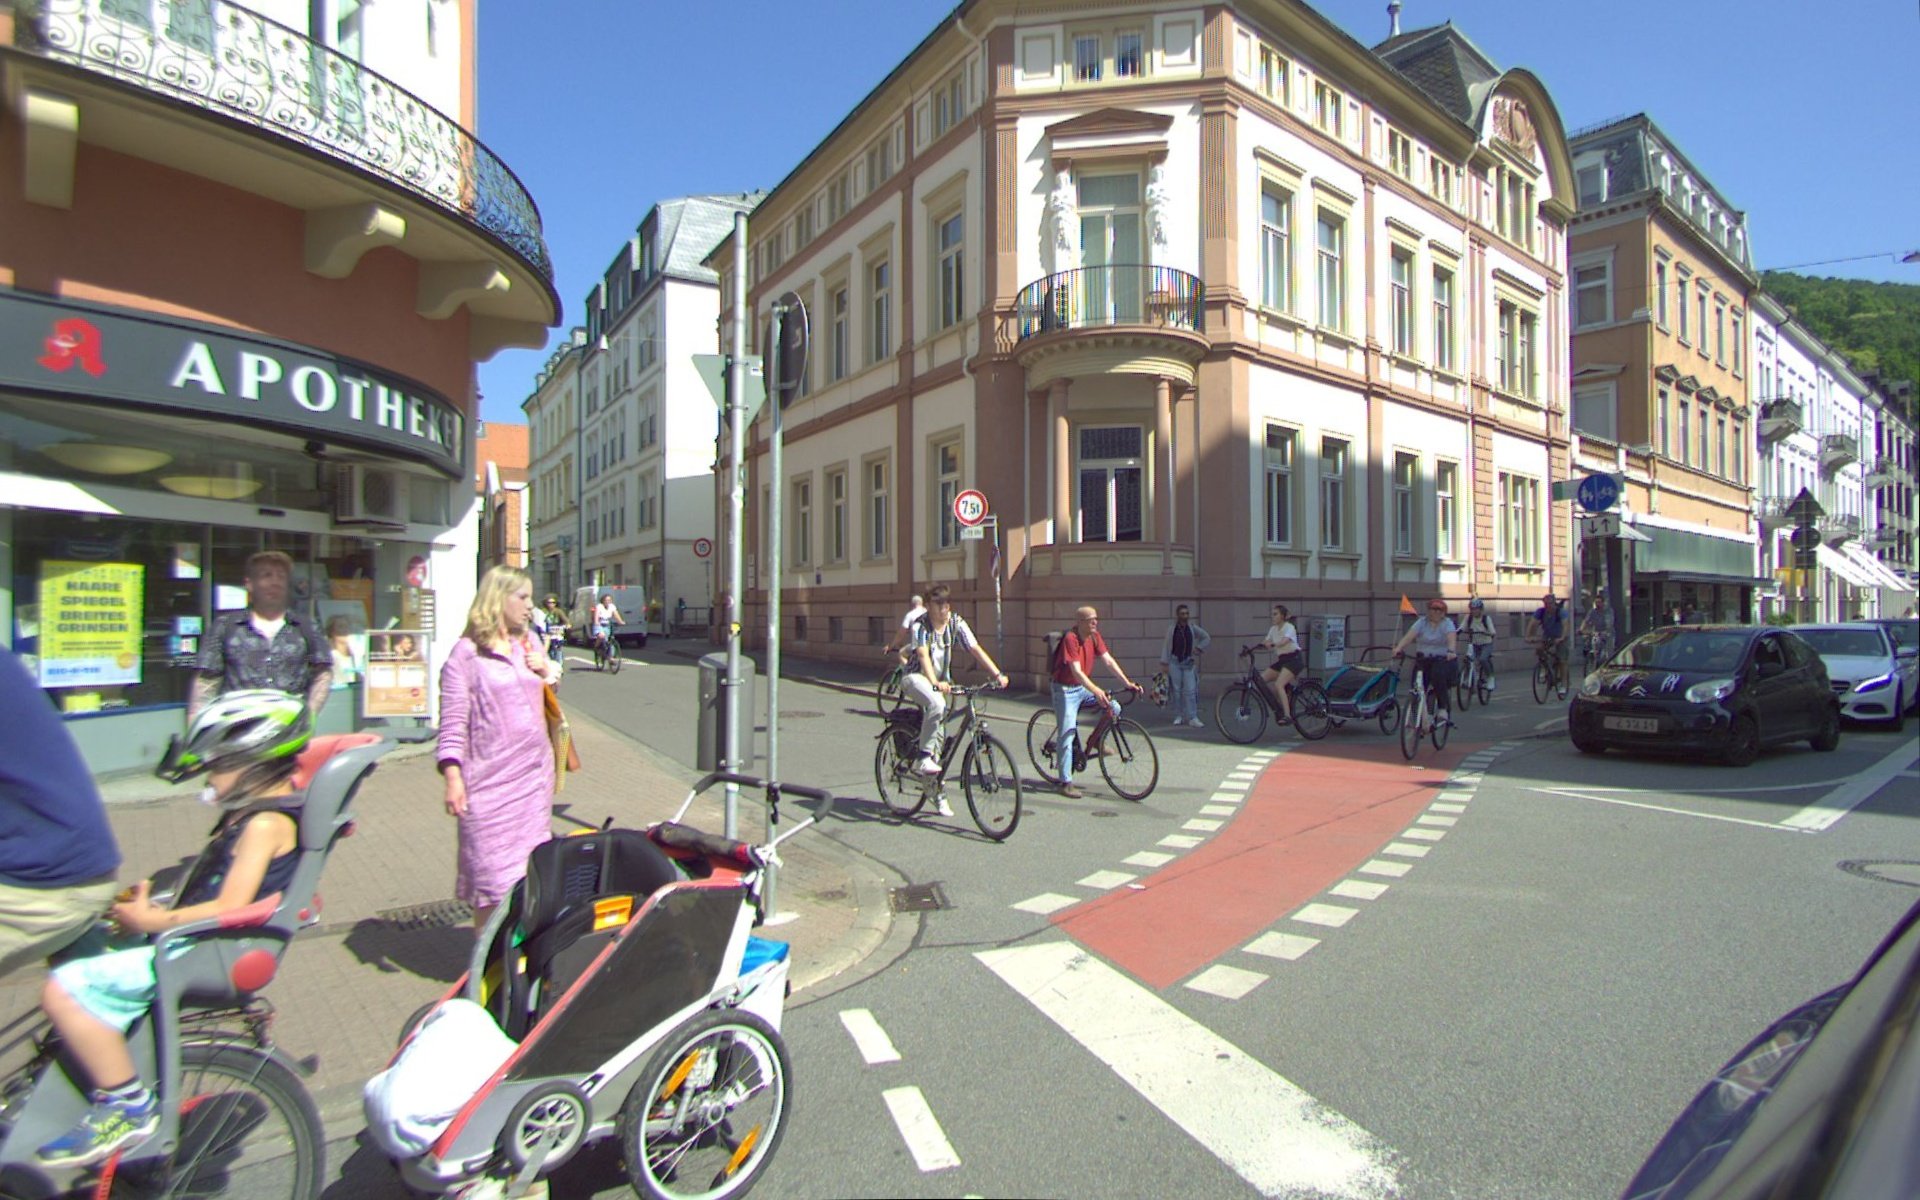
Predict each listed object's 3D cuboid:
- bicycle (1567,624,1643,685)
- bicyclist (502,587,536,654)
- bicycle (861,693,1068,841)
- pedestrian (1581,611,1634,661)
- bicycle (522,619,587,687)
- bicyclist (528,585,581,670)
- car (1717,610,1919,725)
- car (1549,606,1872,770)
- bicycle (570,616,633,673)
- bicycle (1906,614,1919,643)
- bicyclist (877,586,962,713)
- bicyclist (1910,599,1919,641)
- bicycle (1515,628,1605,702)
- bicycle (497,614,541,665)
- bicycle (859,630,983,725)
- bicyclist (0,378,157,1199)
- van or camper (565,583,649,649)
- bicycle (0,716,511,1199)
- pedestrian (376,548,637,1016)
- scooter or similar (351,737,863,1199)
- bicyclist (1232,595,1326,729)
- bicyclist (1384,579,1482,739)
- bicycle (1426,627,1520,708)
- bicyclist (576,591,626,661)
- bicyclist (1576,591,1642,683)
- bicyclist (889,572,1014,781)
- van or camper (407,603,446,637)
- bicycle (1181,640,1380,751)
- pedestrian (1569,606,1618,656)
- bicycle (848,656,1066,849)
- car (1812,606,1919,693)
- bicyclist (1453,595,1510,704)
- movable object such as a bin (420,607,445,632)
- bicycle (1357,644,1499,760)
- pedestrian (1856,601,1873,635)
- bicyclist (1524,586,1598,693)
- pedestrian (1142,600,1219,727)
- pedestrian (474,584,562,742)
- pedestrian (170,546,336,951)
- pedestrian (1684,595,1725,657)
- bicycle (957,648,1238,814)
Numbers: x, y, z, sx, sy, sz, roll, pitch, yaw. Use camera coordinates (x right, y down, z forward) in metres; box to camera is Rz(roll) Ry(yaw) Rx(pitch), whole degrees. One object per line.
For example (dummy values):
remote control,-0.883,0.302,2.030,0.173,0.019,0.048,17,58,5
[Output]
bicycle,12.717,1.044,19.929,1.885,1.132,0.747,1,-3,-42
bicyclist,-10.521,0.485,24.145,0.615,1.549,0.889,1,-2,-31
bicycle,-0.024,1.169,7.478,0.492,0.855,1.825,1,-2,-39
pedestrian,18.379,0.998,28.739,0.614,1.332,1.088,1,2,-41
bicycle,-8.034,1.002,19.975,0.756,1.141,2.576,-2,2,-31
bicyclist,-7.943,0.509,19.804,0.756,1.576,1.226,-2,1,-31
car,13.074,0.896,15.038,4.801,1.443,1.954,0,-3,-42
car,8.491,0.872,11.405,3.658,1.497,1.635,-1,-1,-31
bicycle,-7.760,0.922,21.834,0.757,1.141,2.575,1,-1,-31
bicycle,39.781,1.169,41.747,2.527,1.141,0.743,0,1,-39
bicyclist,-0.575,0.653,14.104,0.563,1.683,1.157,2,0,-40
bicyclist,39.785,0.830,41.749,1.017,1.724,0.747,0,0,-40
bicycle,10.097,1.062,17.003,1.956,1.132,0.663,0,0,-39
bicycle,-10.556,0.922,24.179,0.615,1.141,2.575,1,-1,-31
bicycle,-0.586,1.036,14.101,0.563,1.141,2.075,2,0,-40
bicyclist,-1.950,0.484,1.760,0.730,1.694,0.763,0,0,42
van or camper,-11.922,0.482,34.013,1.959,2.039,4.591,0,0,-28
bicycle,-2.042,0.924,1.688,0.731,1.285,2.246,-2,-3,43
pedestrian,-1.908,0.675,4.258,0.776,1.731,0.639,-2,-3,-42
scooter or similar,-0.951,0.997,2.813,0.783,1.074,1.108,-3,-3,43
bicyclist,3.984,0.756,12.626,0.829,1.593,0.747,4,-2,-40
bicyclist,5.382,0.647,11.519,0.830,1.739,0.683,0,-2,-41
bicycle,8.021,1.022,15.784,1.826,1.141,0.607,0,1,-39
bicyclist,-7.757,0.549,21.844,0.757,1.449,1.261,1,-2,-31
bicyclist,12.721,0.693,19.844,0.830,1.739,0.909,0,0,-42
bicyclist,-0.072,0.523,7.401,0.492,1.429,0.861,1,-1,-39
van or camper,-33.213,1.190,62.921,1.960,2.039,4.003,0,0,-30
bicycle,4.107,1.131,12.740,3.182,1.141,0.750,0,1,-39
pedestrian,17.611,0.845,28.142,0.614,1.333,1.031,1,-1,-41
bicycle,-0.083,1.035,7.471,0.654,1.141,1.845,-1,0,-36
car,18.379,0.908,19.832,4.216,1.511,1.888,-1,-3,-41
bicyclist,8.151,0.750,15.826,0.829,1.657,0.516,0,0,-40
movable object such as a bin,-25.543,0.942,48.994,0.948,1.163,1.264,0,-1,-34
bicycle,5.338,1.105,11.487,1.999,1.141,0.736,0,-2,-42
pedestrian,44.719,0.873,50.032,0.853,1.690,0.482,1,-1,-41
bicyclist,10.124,0.645,17.046,0.829,1.739,0.840,0,0,-40
pedestrian,3.045,0.837,13.945,0.892,1.631,0.970,0,2,21
pedestrian,-4.904,0.689,11.223,0.774,1.680,0.641,3,-3,-30
pedestrian,-3.540,0.687,5.112,0.602,1.867,0.642,-1,-2,-28
pedestrian,22.311,0.770,30.337,0.754,1.814,0.840,0,0,-40
bicycle,1.077,1.020,8.643,0.617,1.141,2.567,2,-2,-43
